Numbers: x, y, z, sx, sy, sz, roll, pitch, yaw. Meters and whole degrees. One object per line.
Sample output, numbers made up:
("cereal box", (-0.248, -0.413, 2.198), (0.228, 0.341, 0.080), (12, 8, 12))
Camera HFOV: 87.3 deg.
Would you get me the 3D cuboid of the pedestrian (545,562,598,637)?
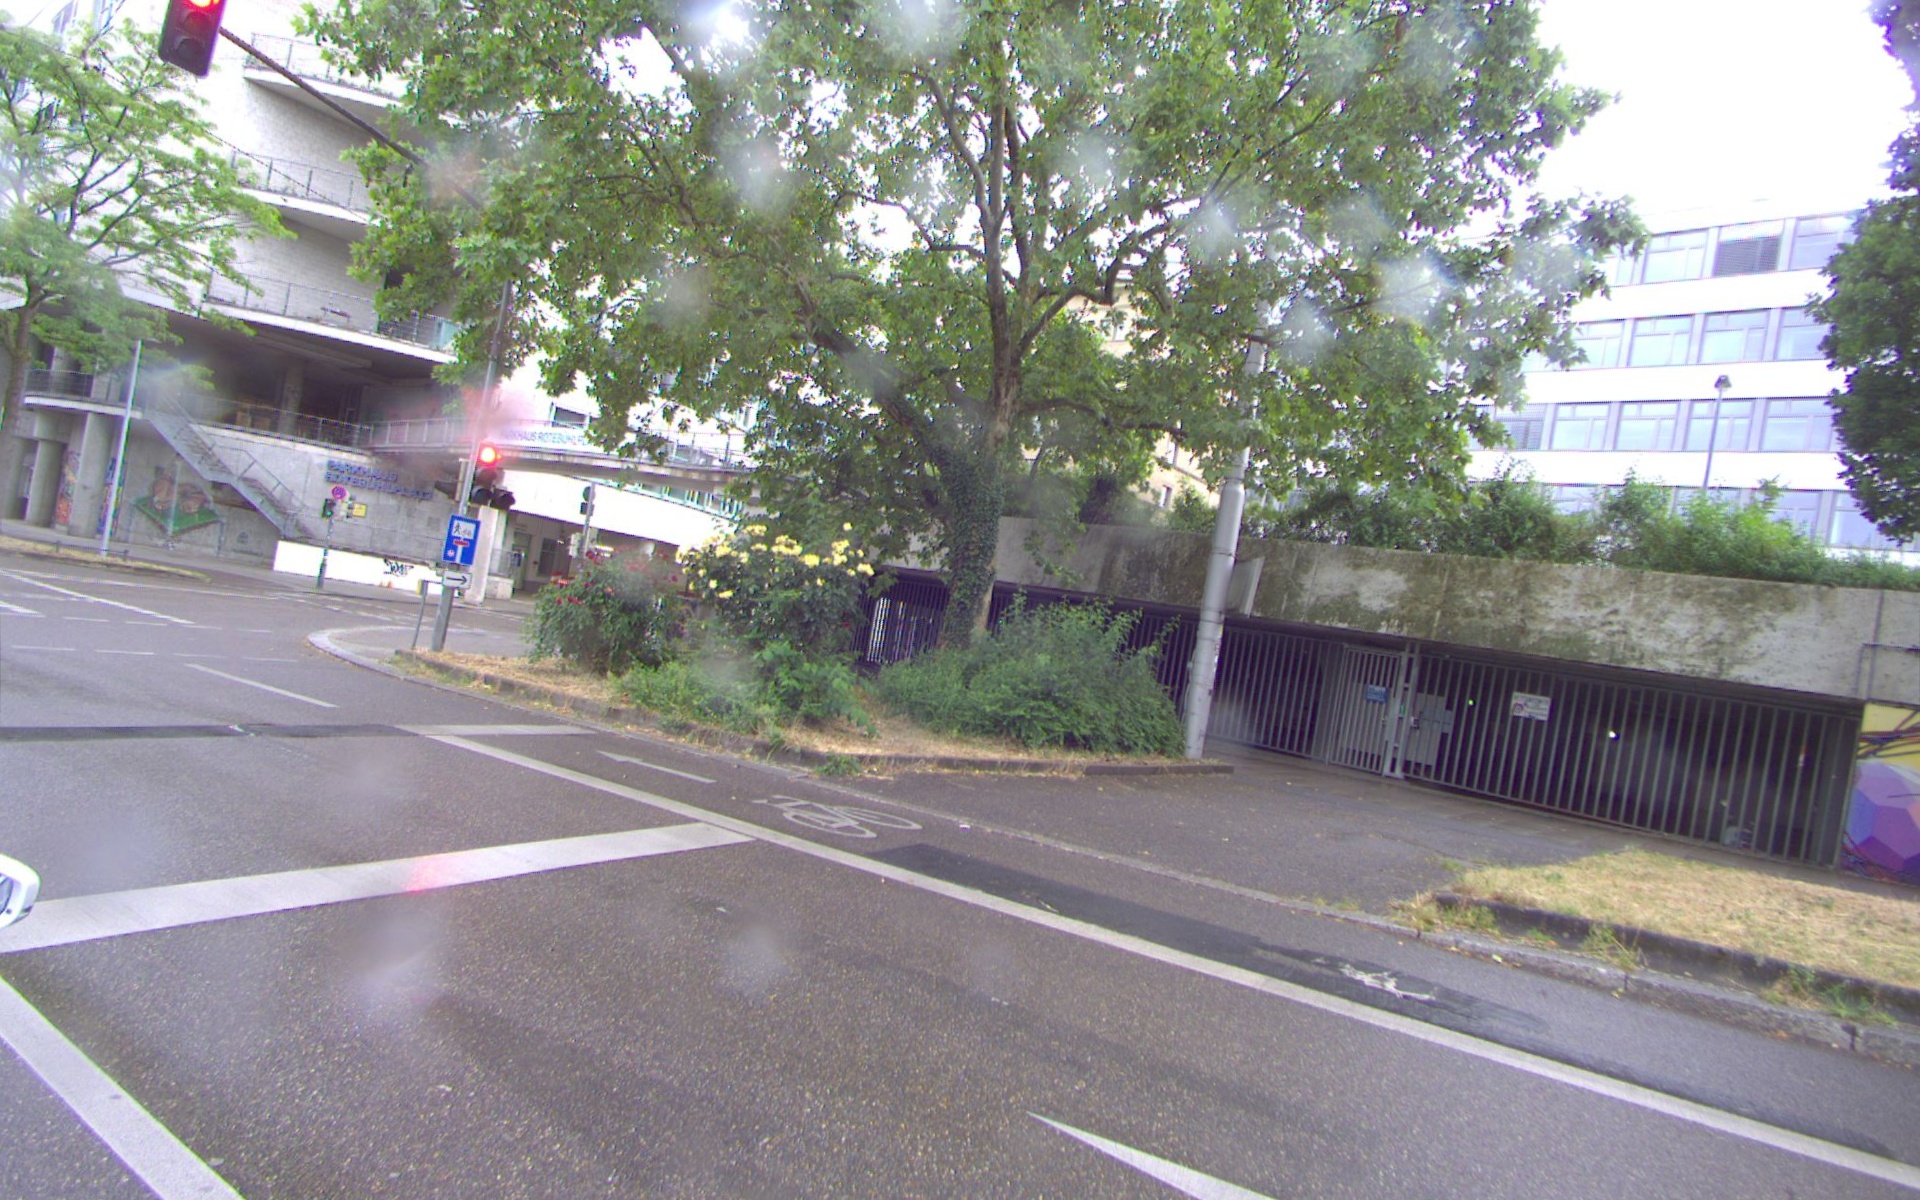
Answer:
("pedestrian", (-10.737, -0.007, 27.789), (0.745, 1.932, 0.847), (8, -1, 31))
